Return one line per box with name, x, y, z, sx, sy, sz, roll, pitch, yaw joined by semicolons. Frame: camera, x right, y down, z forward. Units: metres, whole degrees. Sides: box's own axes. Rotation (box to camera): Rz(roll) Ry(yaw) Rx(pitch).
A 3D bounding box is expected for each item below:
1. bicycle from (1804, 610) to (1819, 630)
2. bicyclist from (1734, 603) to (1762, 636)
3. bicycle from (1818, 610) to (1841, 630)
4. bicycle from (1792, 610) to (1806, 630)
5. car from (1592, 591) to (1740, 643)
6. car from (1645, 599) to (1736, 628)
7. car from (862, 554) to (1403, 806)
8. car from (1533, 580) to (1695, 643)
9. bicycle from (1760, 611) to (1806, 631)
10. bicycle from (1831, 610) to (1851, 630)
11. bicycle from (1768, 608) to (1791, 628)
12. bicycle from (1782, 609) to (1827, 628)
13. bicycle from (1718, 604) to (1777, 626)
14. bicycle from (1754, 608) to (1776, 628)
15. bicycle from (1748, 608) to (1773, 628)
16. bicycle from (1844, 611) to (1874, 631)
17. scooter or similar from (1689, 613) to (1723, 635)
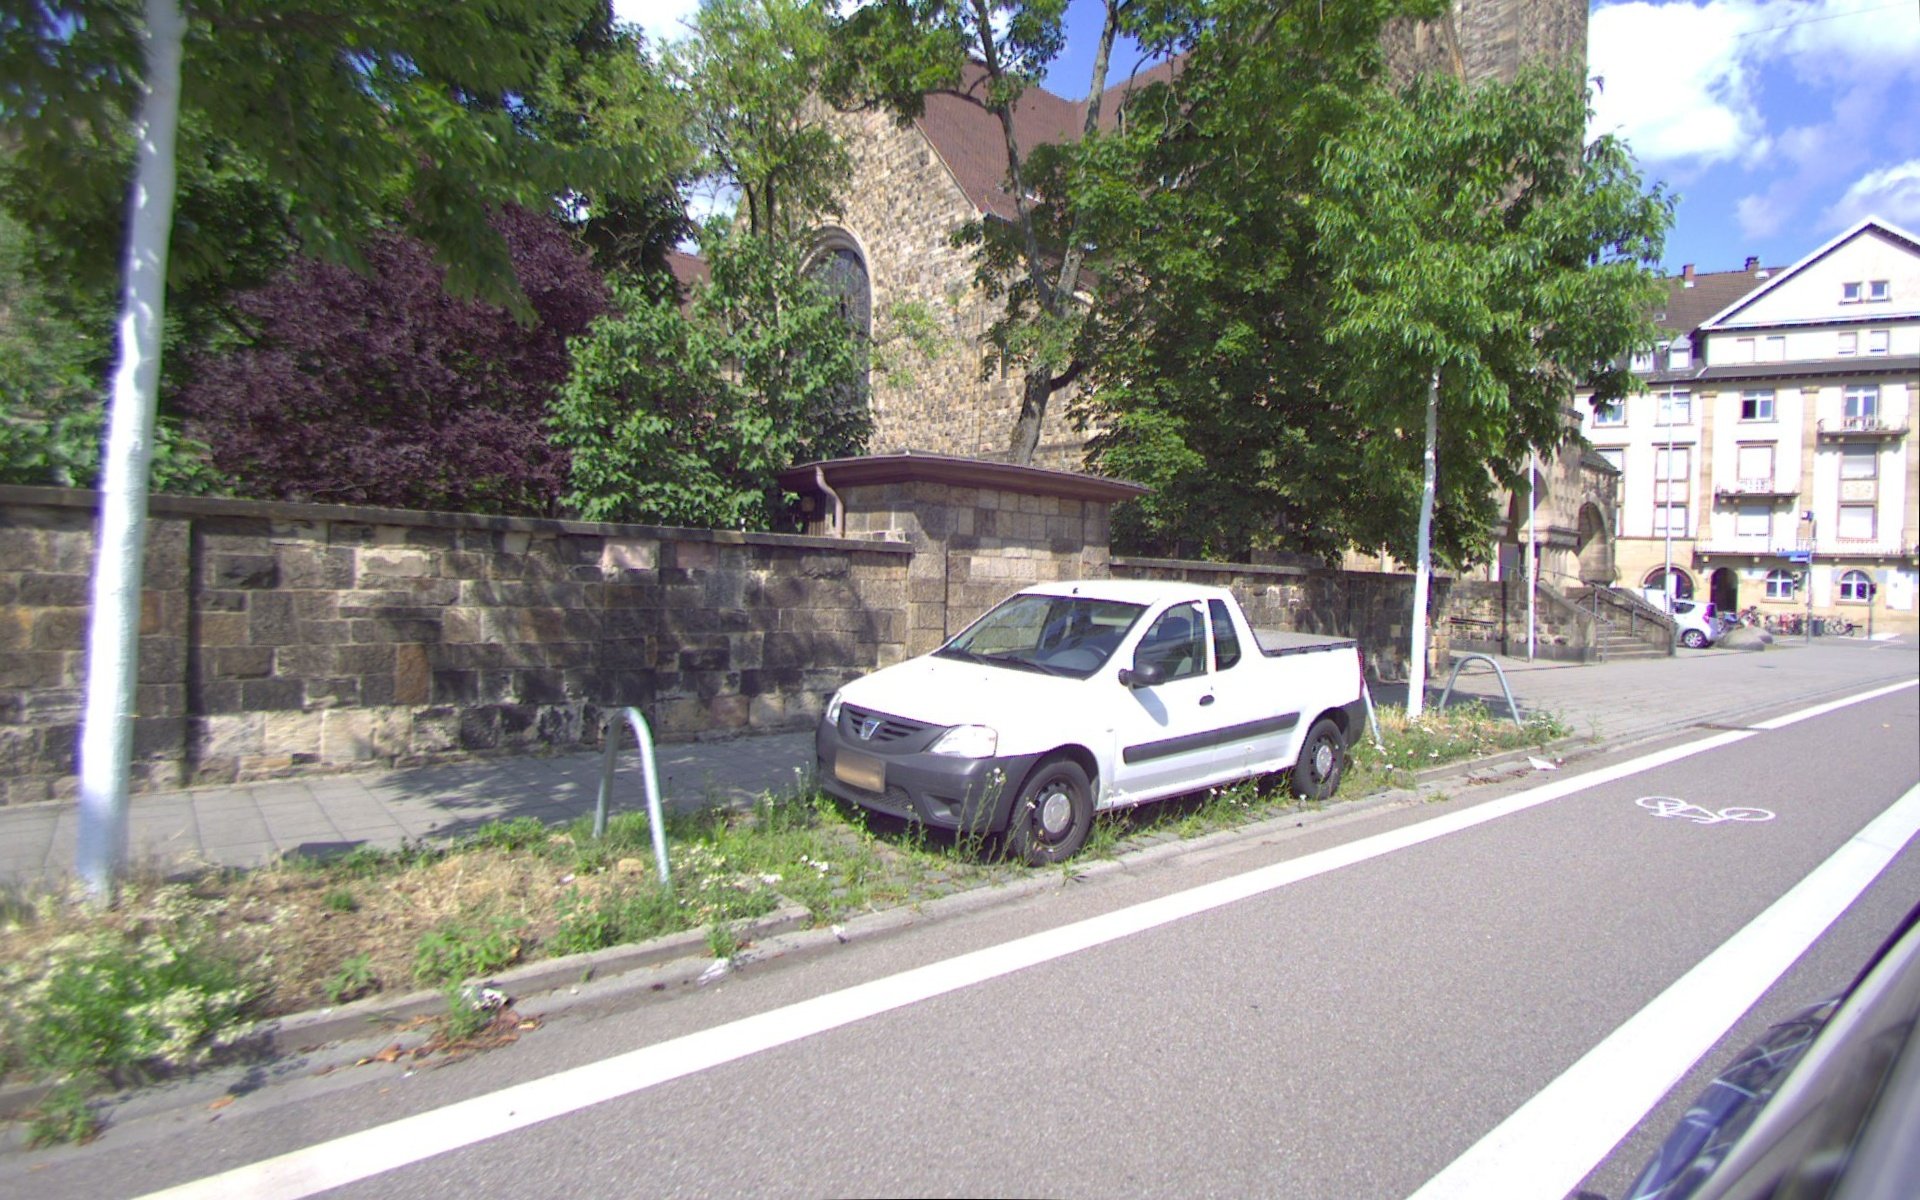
bicycle;48.005;1.125;57.069;0.537;1.031;1.902;3;3;38
bicyclist;37.905;0.926;48.686;0.911;1.523;0.647;2;-1;21
bicycle;48.510;1.102;56.466;1.843;1.031;0.602;-2;3;-39
bicycle;47.434;1.115;57.242;0.537;1.031;1.902;3;4;38
car;23.806;0.544;34.206;1.766;1.566;3.774;1;1;-41
car;42.755;0.758;59.355;1.927;1.458;4.010;0;3;-11
car;1.348;0.488;7.467;3.768;1.434;1.675;1;-1;-32
car;20.954;0.325;32.528;1.831;1.847;4.008;1;1;-42
bicycle;45.841;1.142;56.387;1.897;1.031;0.539;1;3;9
bicycle;49.878;1.129;57.314;0.606;1.031;1.855;2;3;34
bicycle;47.456;1.034;58.601;0.534;1.031;1.914;2;3;24
bicycle;48.810;1.061;58.522;1.912;1.031;0.535;2;3;29
bicycle;37.869;0.714;48.692;2.109;1.001;0.648;2;0;22
bicycle;46.828;1.032;58.874;0.534;1.031;1.914;2;3;24
bicycle;45.873;1.014;58.017;0.534;1.031;1.916;1;3;20
bicycle;50.548;1.166;56.909;0.603;1.031;1.864;2;3;21
scooter or similar;36.135;1.171;49.046;1.117;0.989;0.884;2;0;21
